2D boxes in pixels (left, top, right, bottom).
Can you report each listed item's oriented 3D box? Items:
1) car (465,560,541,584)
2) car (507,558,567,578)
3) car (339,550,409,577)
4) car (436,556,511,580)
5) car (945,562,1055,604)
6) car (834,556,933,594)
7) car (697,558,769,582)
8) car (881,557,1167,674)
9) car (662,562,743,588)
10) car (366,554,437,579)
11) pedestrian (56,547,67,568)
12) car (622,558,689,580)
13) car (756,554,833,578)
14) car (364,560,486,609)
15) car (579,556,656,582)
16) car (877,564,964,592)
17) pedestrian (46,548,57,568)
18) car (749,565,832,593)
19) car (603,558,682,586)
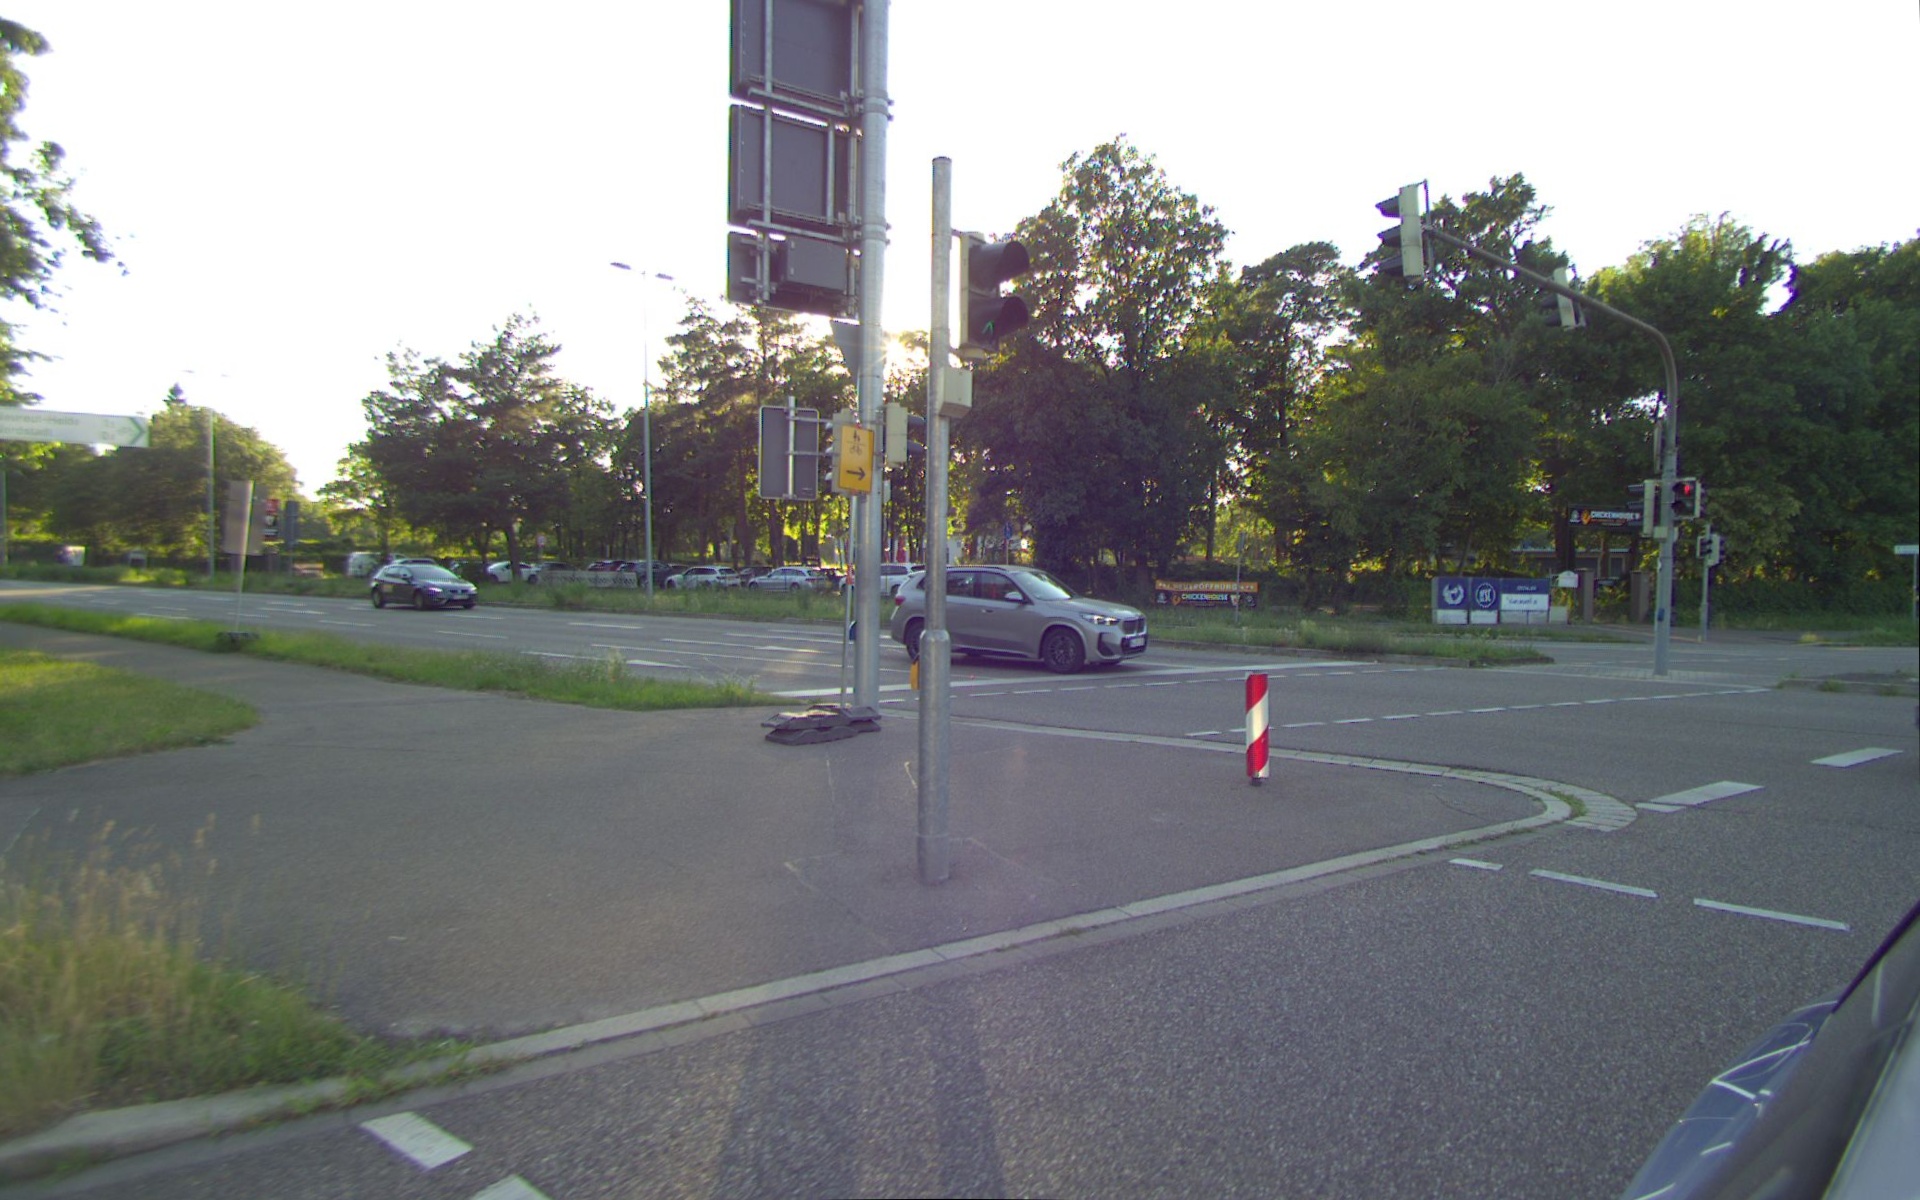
[{"bbox_3d":[-29.077,-1.783,64.473,1.770,1.497,4.125,2,2,32],"label":"car"},{"bbox_3d":[-31.618,-2.371,75.621,4.511,1.424,1.845,2,2,31],"label":"car"},{"bbox_3d":[-41.667,-2.591,72.063,1.814,1.888,3.951,2,2,35],"label":"car"},{"bbox_3d":[-31.608,-2.078,65.874,1.770,1.497,4.125,2,2,32],"label":"car"},{"bbox_3d":[1.777,-0.785,45.018,4.493,1.678,1.853,2,2,21],"label":"car"},{"bbox_3d":[-3.677,-1.219,48.487,4.511,1.679,1.845,2,2,31],"label":"car"},{"bbox_3d":[-14.621,-1.932,64.992,4.511,1.424,1.845,2,2,31],"label":"car"},{"bbox_3d":[1.001,0.139,16.744,4.368,1.644,1.976,2,4,35],"label":"car"},{"bbox_3d":[-14.078,-1.386,55.222,4.463,1.341,1.662,2,2,31],"label":"car"},{"bbox_3d":[-38.946,-2.312,70.608,1.814,1.657,3.951,2,2,35],"label":"car"},{"bbox_3d":[-79.075,-3.738,89.097,0.672,1.796,0.561,1,3,36],"label":"pedestrian"},{"bbox_3d":[-20.722,-2.084,68.742,4.511,1.424,1.845,2,2,31],"label":"car"},{"bbox_3d":[-10.153,-2.108,61.973,4.511,1.424,1.845,2,2,31],"label":"car"},{"bbox_3d":[-17.297,-0.554,32.673,4.049,1.422,1.850,2,4,35],"label":"car"},{"bbox_3d":[-20.020,-1.800,59.254,1.985,1.471,3.955,2,2,32],"label":"car"},{"bbox_3d":[-2.194,-1.204,55.293,4.511,1.424,1.845,2,2,31],"label":"car"},{"bbox_3d":[-79.481,-3.691,88.530,0.672,1.767,0.561,1,3,36],"label":"pedestrian"},{"bbox_3d":[-8.673,-1.075,51.704,3.968,1.348,1.845,2,2,31],"label":"car"},{"bbox_3d":[-17.681,-1.584,56.519,1.751,1.497,3.998,2,2,36],"label":"car"}]
